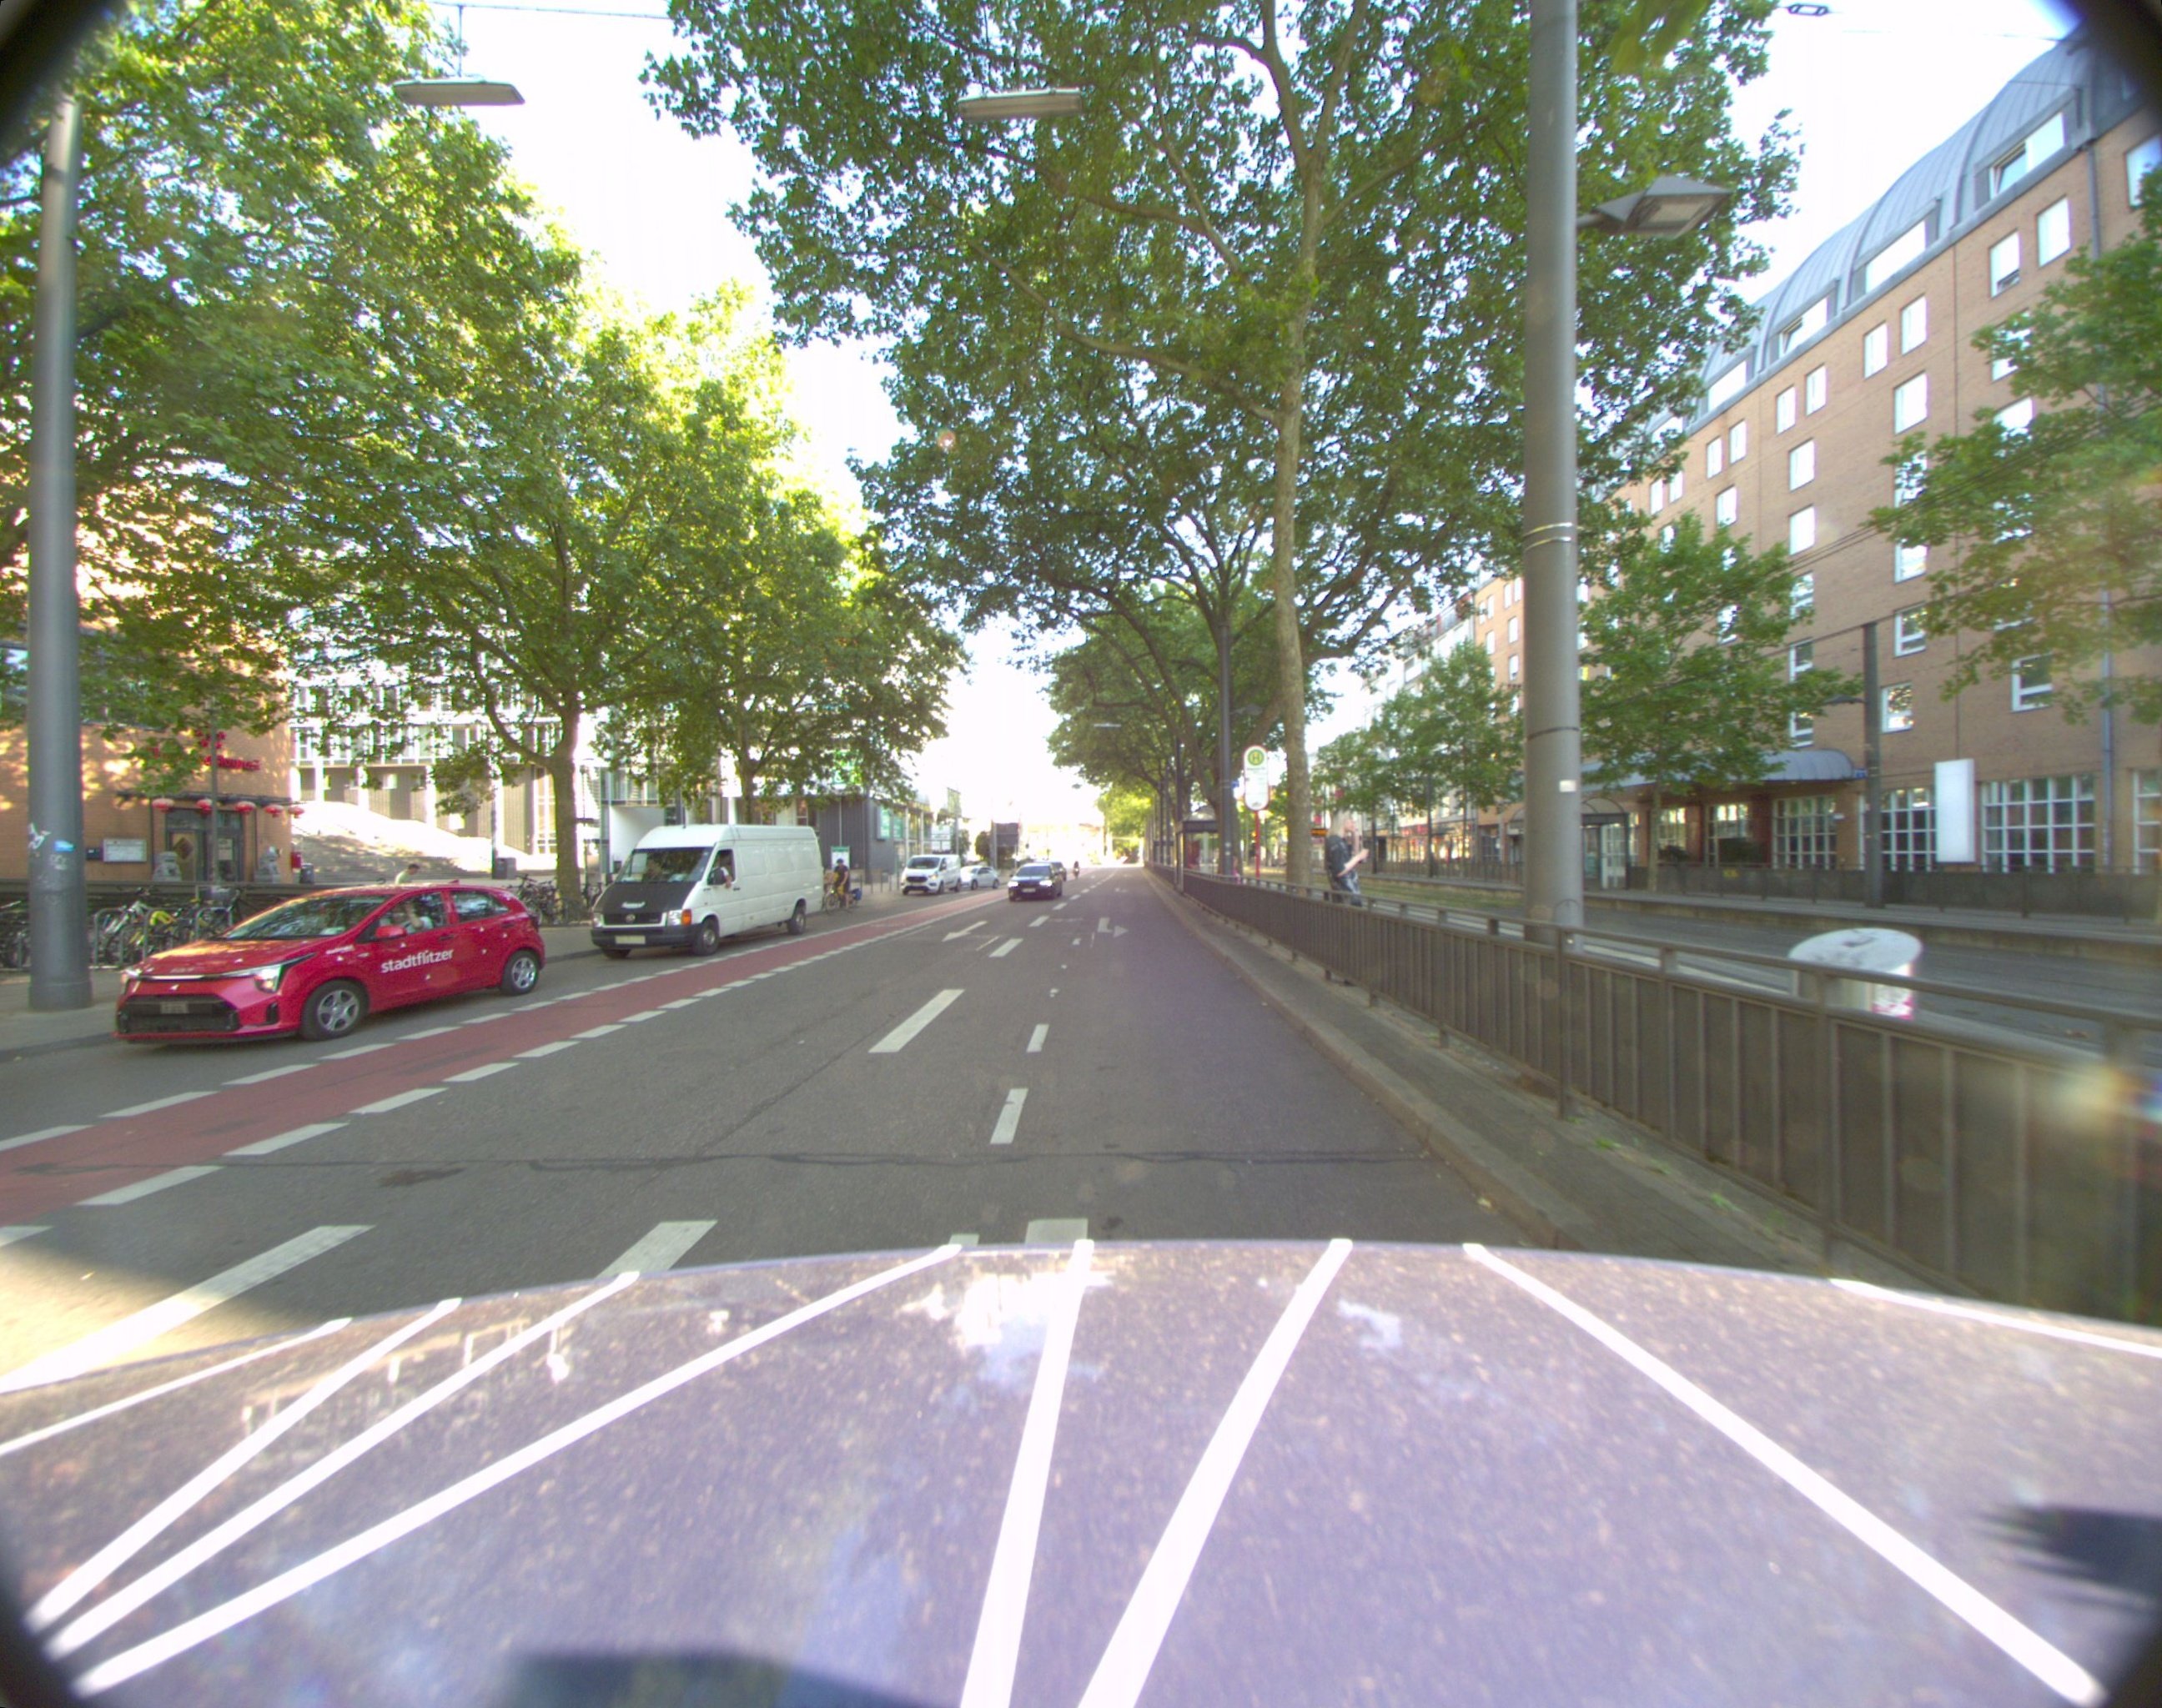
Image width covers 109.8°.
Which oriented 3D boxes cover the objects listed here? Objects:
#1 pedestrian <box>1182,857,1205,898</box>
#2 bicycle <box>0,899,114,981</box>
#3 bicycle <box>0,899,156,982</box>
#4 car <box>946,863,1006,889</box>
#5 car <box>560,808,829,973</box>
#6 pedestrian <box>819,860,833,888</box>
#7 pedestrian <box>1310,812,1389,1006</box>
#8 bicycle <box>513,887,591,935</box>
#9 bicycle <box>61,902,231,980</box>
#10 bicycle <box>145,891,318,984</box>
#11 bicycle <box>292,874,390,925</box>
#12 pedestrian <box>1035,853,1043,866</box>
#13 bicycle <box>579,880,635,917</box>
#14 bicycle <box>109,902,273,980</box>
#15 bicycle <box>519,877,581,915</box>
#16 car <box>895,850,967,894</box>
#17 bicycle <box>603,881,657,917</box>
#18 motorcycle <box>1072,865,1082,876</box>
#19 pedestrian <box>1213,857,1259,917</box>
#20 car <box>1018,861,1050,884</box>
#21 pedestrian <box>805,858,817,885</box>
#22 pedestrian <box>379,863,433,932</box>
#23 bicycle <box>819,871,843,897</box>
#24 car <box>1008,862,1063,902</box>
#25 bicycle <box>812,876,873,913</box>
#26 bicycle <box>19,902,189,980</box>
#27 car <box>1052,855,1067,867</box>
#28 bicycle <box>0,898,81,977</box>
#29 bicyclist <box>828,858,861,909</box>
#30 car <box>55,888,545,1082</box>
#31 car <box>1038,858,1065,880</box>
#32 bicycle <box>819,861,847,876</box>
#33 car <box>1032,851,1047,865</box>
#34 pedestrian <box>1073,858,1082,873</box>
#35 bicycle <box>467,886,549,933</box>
[{"bbox_3d":[3.955,0.819,26.821,0.735,1.379,0.640,-2,1,6],"label":"pedestrian"},{"bbox_3d":[-16.296,1.322,11.719,0.479,1.153,1.694,0,0,5],"label":"bicycle"},{"bbox_3d":[-15.831,1.317,11.950,0.503,1.130,1.655,-1,0,1],"label":"bicycle"},{"bbox_3d":[-6.306,1.302,46.099,1.783,1.411,4.028,0,0,24],"label":"car"},{"bbox_3d":[-7.625,0.619,16.116,1.998,2.708,6.562,-2,0,2],"label":"car"},{"bbox_3d":[-14.237,1.100,42.417,0.516,1.514,0.636,0,0,10],"label":"pedestrian"},{"bbox_3d":[2.741,0.539,7.812,0.511,1.889,0.760,-2,1,2],"label":"pedestrian"},{"bbox_3d":[-12.997,1.379,18.725,0.596,1.040,1.656,0,0,9],"label":"bicycle"},{"bbox_3d":[-14.605,1.327,11.945,0.597,1.026,1.655,-1,0,1],"label":"bicycle"},{"bbox_3d":[-13.275,1.254,11.969,0.597,1.257,1.876,-1,0,1],"label":"bicycle"},{"bbox_3d":[-17.900,1.073,18.432,0.596,1.119,1.656,0,0,9],"label":"bicycle"},{"bbox_3d":[-5.073,0.659,91.714,0.753,1.565,0.912,-1,1,6],"label":"pedestrian"},{"bbox_3d":[-14.708,1.360,23.630,0.597,1.040,1.655,0,0,4],"label":"bicycle"},{"bbox_3d":[-13.913,1.324,11.955,0.597,1.026,1.655,-1,0,1],"label":"bicycle"},{"bbox_3d":[-16.120,1.257,23.107,0.597,1.040,1.655,0,0,4],"label":"bicycle"},{"bbox_3d":[-7.649,0.871,39.299,2.127,2.121,5.292,0,0,6],"label":"car"},{"bbox_3d":[-13.952,1.375,23.563,0.597,1.040,1.655,0,0,4],"label":"bicycle"},{"bbox_3d":[-0.288,1.361,63.099,0.667,0.843,2.223,0,0,4],"label":"motorcycle"},{"bbox_3d":[3.771,0.802,18.533,0.979,1.392,0.664,-2,1,6],"label":"pedestrian"},{"bbox_3d":[-3.170,1.243,51.779,1.671,1.455,3.870,-1,0,3],"label":"car"},{"bbox_3d":[-16.828,1.088,47.323,0.541,1.666,0.721,-1,1,-30],"label":"pedestrian"},{"bbox_3d":[-16.312,1.033,18.380,0.718,1.622,0.636,0,0,7],"label":"pedestrian"},{"bbox_3d":[-11.515,1.359,35.043,0.514,1.151,1.540,-1,0,3],"label":"bicycle"},{"bbox_3d":[-1.810,1.118,31.356,1.827,1.416,4.346,-2,0,2],"label":"car"},{"bbox_3d":[-7.957,1.334,25.436,0.550,1.114,2.131,0,0,31],"label":"bicycle"},{"bbox_3d":[-15.247,1.326,11.925,0.503,1.026,1.655,-1,0,1],"label":"bicycle"},{"bbox_3d":[-3.074,0.975,109.889,1.998,1.681,4.000,-2,1,1],"label":"car"},{"bbox_3d":[-16.852,1.310,11.733,0.479,1.153,1.694,0,0,5],"label":"bicycle"},{"bbox_3d":[-7.923,0.983,25.500,0.750,1.678,0.716,0,1,31],"label":"bicyclist"},{"bbox_3d":[-7.976,1.207,8.330,1.562,1.455,3.621,-2,0,1],"label":"car"},{"bbox_3d":[-2.283,1.152,60.089,1.785,1.628,4.022,-1,0,3],"label":"car"},{"bbox_3d":[-18.676,1.087,57.208,1.879,1.057,0.700,0,0,2],"label":"bicycle"},{"bbox_3d":[-5.939,0.591,109.248,1.999,1.856,3.999,-2,1,-1],"label":"car"},{"bbox_3d":[-0.282,0.960,62.948,0.665,1.218,0.775,0,1,4],"label":"pedestrian"},{"bbox_3d":[-14.219,1.354,18.917,0.596,1.040,1.656,0,0,9],"label":"bicycle"}]
